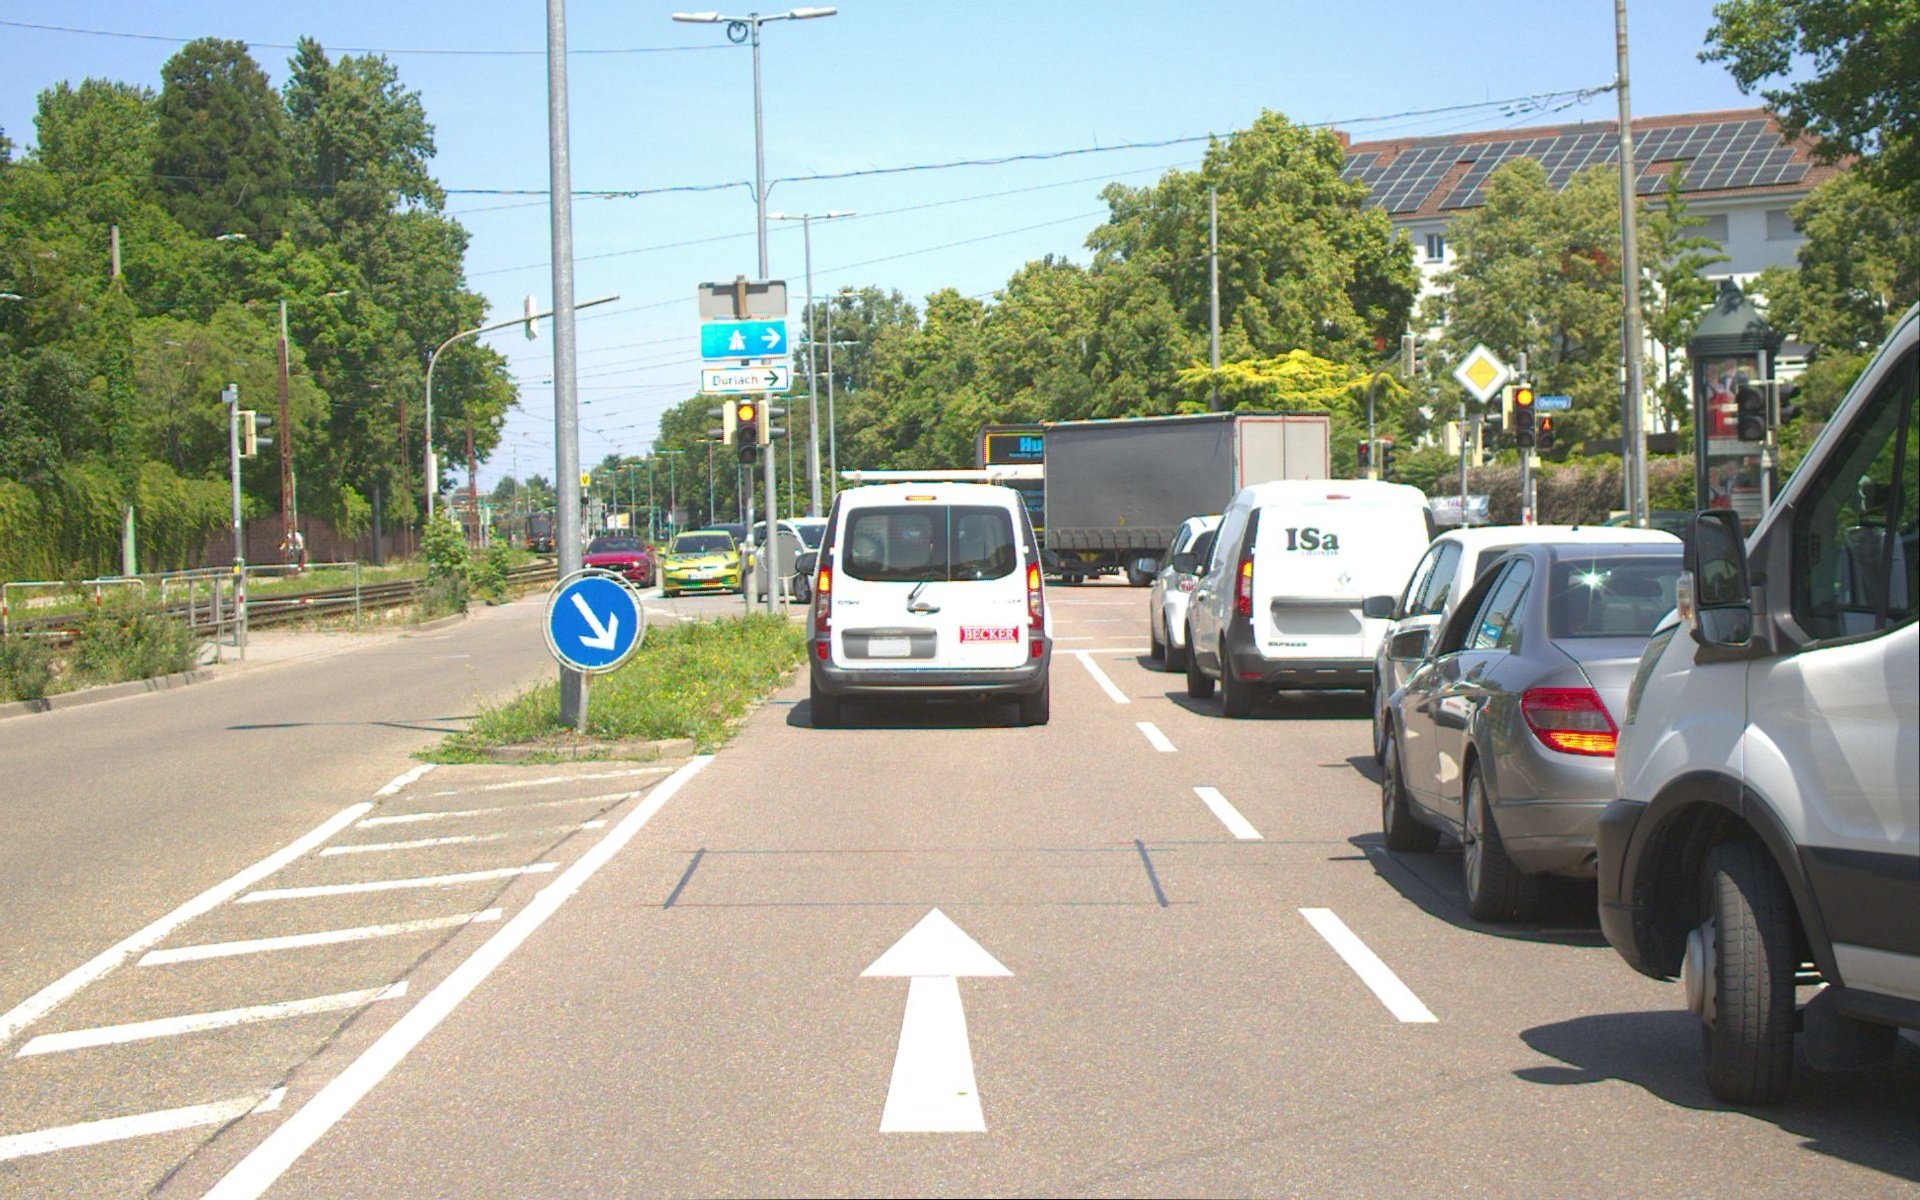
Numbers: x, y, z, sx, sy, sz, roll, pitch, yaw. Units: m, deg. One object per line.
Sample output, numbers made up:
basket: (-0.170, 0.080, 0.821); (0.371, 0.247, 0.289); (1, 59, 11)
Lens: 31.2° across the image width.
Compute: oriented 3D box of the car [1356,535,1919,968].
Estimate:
car: (2.759, 0.481, 14.036); (1.795, 1.444, 4.418); (-1, 1, 1)

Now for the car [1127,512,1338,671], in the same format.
car: (2.698, -0.127, 34.817); (1.756, 1.481, 4.000); (-1, 1, 0)

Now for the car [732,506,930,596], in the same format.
car: (-2.510, -0.940, 65.723); (1.993, 1.612, 4.456); (-2, 1, -28)

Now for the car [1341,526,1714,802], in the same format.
car: (3.201, 0.315, 19.987); (1.607, 1.446, 3.521); (1, 1, 1)

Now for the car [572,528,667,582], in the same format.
car: (-9.034, -1.204, 91.526); (1.984, 1.354, 4.538); (-1, 1, 1)

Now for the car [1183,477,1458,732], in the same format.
car: (2.749, -0.015, 27.007); (1.710, 1.824, 4.014); (-1, 1, 0)

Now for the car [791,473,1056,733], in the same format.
car: (-0.292, -0.023, 26.225); (1.866, 1.829, 3.849); (0, 1, -1)

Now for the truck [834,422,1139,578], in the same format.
truck: (0.519, -2.413, 84.555); (3.576, 3.620, 8.809); (-2, 1, -29)

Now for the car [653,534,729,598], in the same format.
car: (-6.035, -0.781, 77.405); (1.538, 1.374, 4.003); (-1, 1, -2)

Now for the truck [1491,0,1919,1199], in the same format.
truck: (4.000, -0.289, 6.398); (2.419, 3.380, 7.836); (-2, 1, -20)

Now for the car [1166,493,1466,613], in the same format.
car: (5.759, -0.767, 55.507); (4.528, 1.823, 1.999); (-1, 1, 15)

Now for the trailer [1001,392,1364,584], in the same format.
trailer: (4.831, -2.442, 76.870); (3.528, 4.036, 8.977); (-2, 1, -31)
